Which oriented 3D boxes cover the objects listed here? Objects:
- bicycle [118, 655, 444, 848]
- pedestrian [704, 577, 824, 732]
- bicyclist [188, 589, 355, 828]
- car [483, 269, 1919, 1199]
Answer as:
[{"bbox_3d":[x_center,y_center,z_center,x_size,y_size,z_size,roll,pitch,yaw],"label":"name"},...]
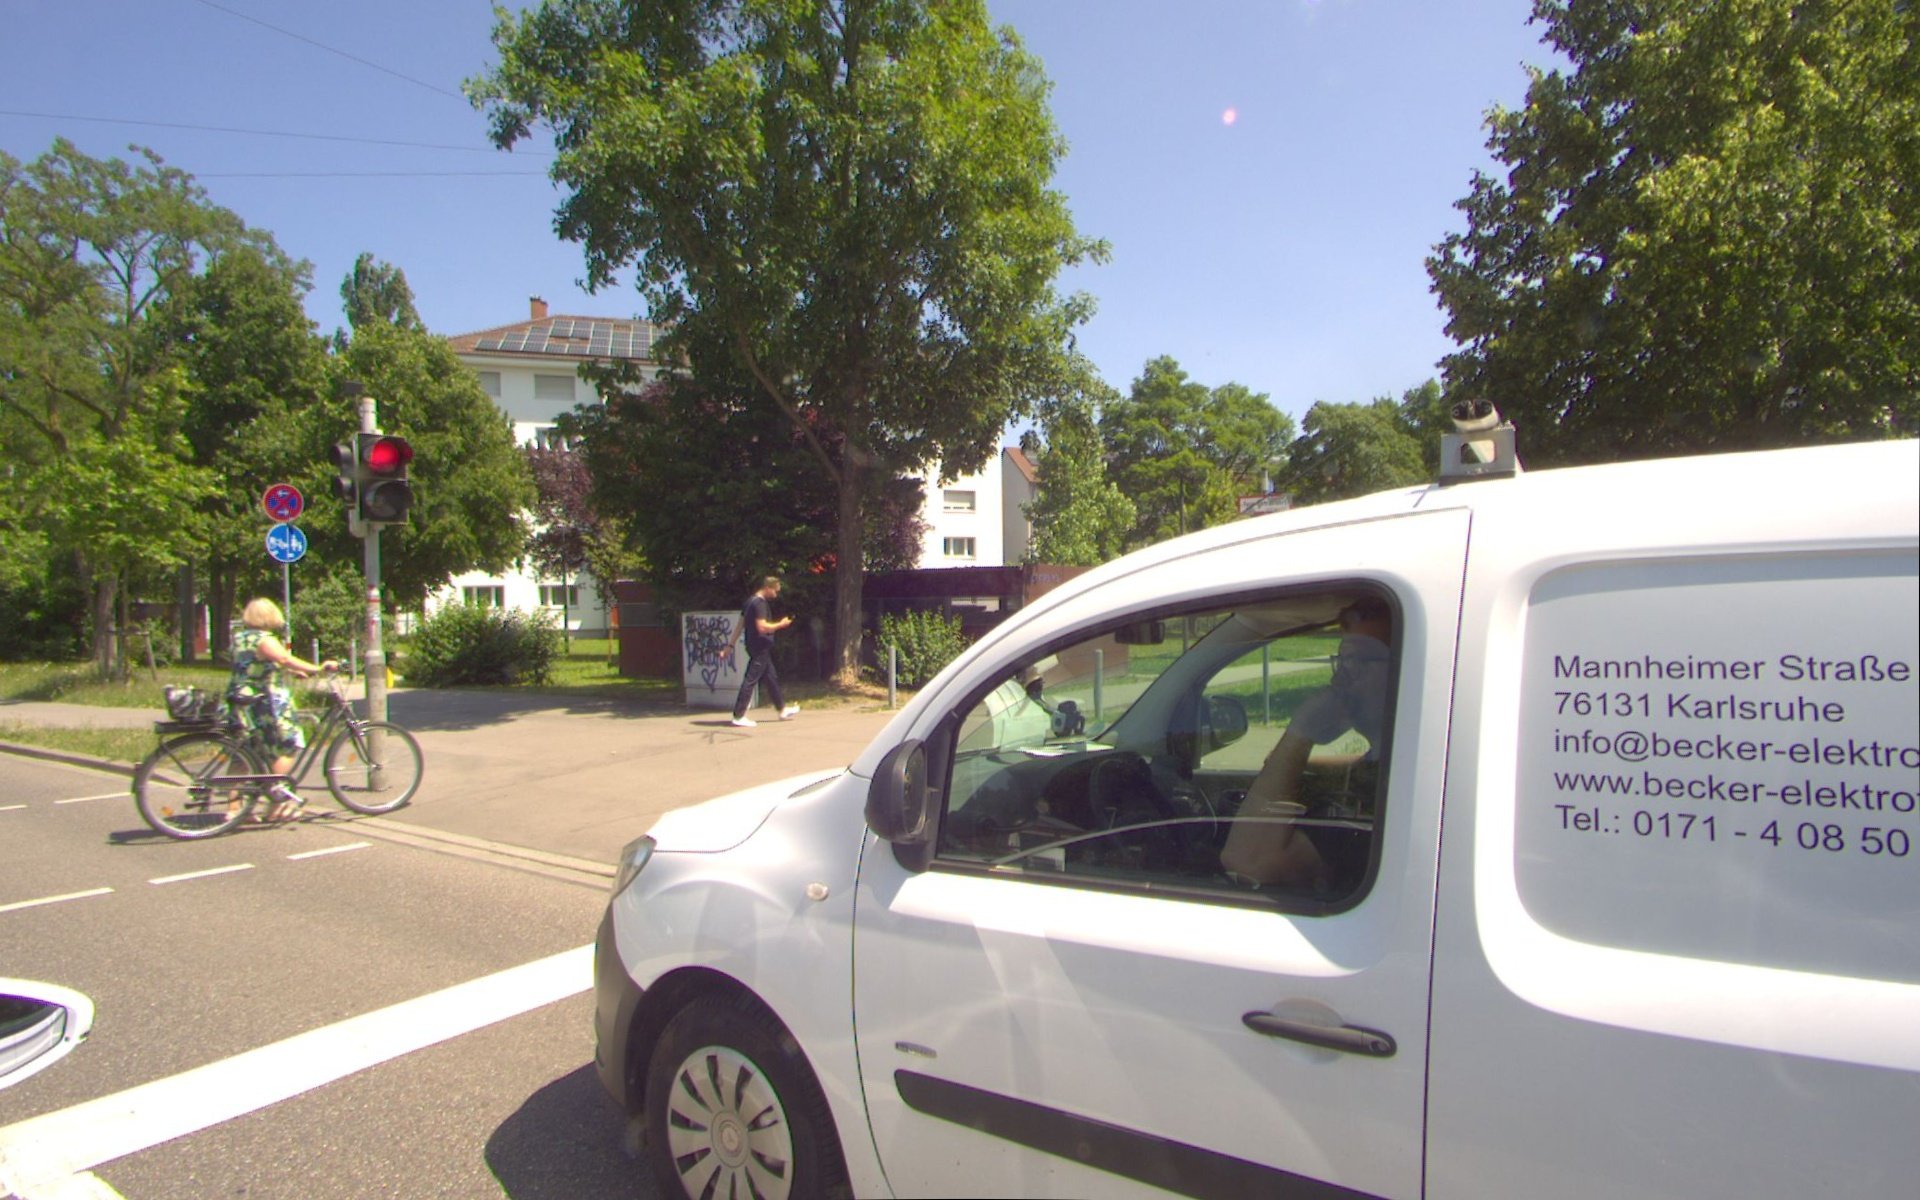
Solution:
[{"bbox_3d":[-4.997,1.051,7.478,1.942,1.176,0.536,-1,-1,-41],"label":"bicycle"},{"bbox_3d":[-2.446,0.646,12.490,1.172,1.801,0.835,-2,1,-34],"label":"pedestrian"},{"bbox_3d":[-5.235,0.775,7.624,0.950,1.688,0.575,-2,0,-41],"label":"bicyclist"},{"bbox_3d":[1.124,0.565,2.300,4.384,1.850,1.990,-1,0,32],"label":"car"}]
